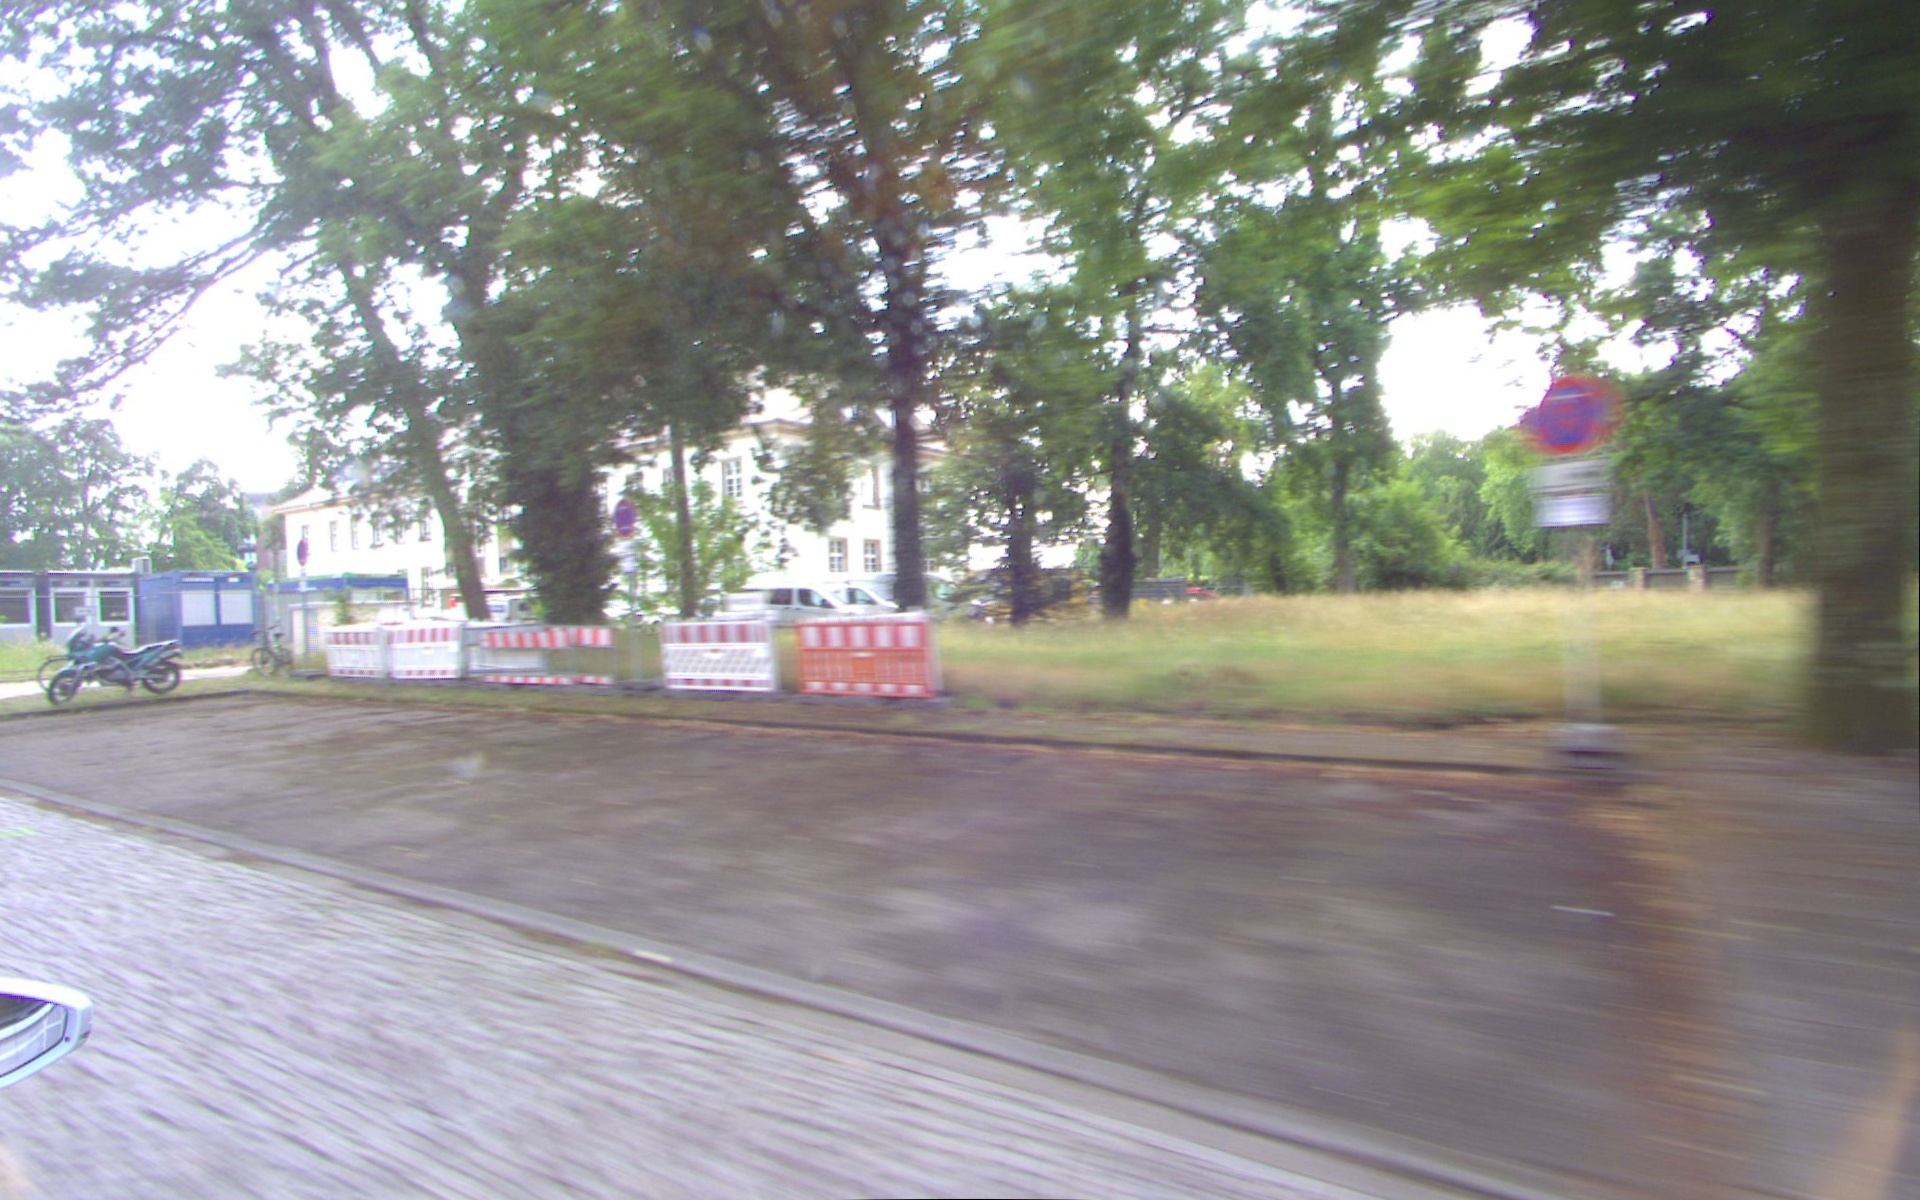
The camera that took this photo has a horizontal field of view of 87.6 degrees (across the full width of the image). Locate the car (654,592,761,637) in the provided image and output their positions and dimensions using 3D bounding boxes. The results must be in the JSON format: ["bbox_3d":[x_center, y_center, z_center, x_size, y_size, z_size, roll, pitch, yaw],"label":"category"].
[{"bbox_3d":[-11.286,0.666,44.682,4.810,1.848,1.988,-2,-1,35],"label":"car"}]

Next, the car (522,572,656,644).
[{"bbox_3d":[-14.524,0.367,39.049,5.832,2.589,1.988,-2,-1,36],"label":"car"}]

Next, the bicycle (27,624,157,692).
[{"bbox_3d":[-17.355,1.138,20.081,1.881,1.213,0.651,-2,1,-38],"label":"bicycle"}]

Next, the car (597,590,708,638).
[{"bbox_3d":[-12.958,0.628,42.048,4.812,1.848,1.987,-2,-1,36],"label":"car"}]

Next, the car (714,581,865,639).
[{"bbox_3d":[-5.834,0.371,34.606,4.780,1.848,2.000,-1,-1,6],"label":"car"}]

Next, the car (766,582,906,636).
[{"bbox_3d":[-4.556,0.364,37.114,4.780,1.848,2.000,-1,-1,6],"label":"car"}]

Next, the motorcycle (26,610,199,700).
[{"bbox_3d":[-15.573,0.968,18.480,0.745,1.505,2.274,-1,1,28],"label":"motorcycle"}]

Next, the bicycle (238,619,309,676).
[{"bbox_3d":[-15.073,1.022,21.964,1.879,1.185,0.640,-1,1,36],"label":"bicycle"}]

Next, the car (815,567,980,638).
[{"bbox_3d":[-2.433,0.129,39.781,6.298,2.611,2.000,-1,-1,4],"label":"car"}]

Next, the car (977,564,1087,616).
[{"bbox_3d":[3.353,-0.369,45.318,2.182,2.122,6.127,-2,-2,34],"label":"car"}]

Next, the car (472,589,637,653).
[{"bbox_3d":[-13.298,0.630,33.158,1.880,1.947,4.845,0,1,34],"label":"car"}]
